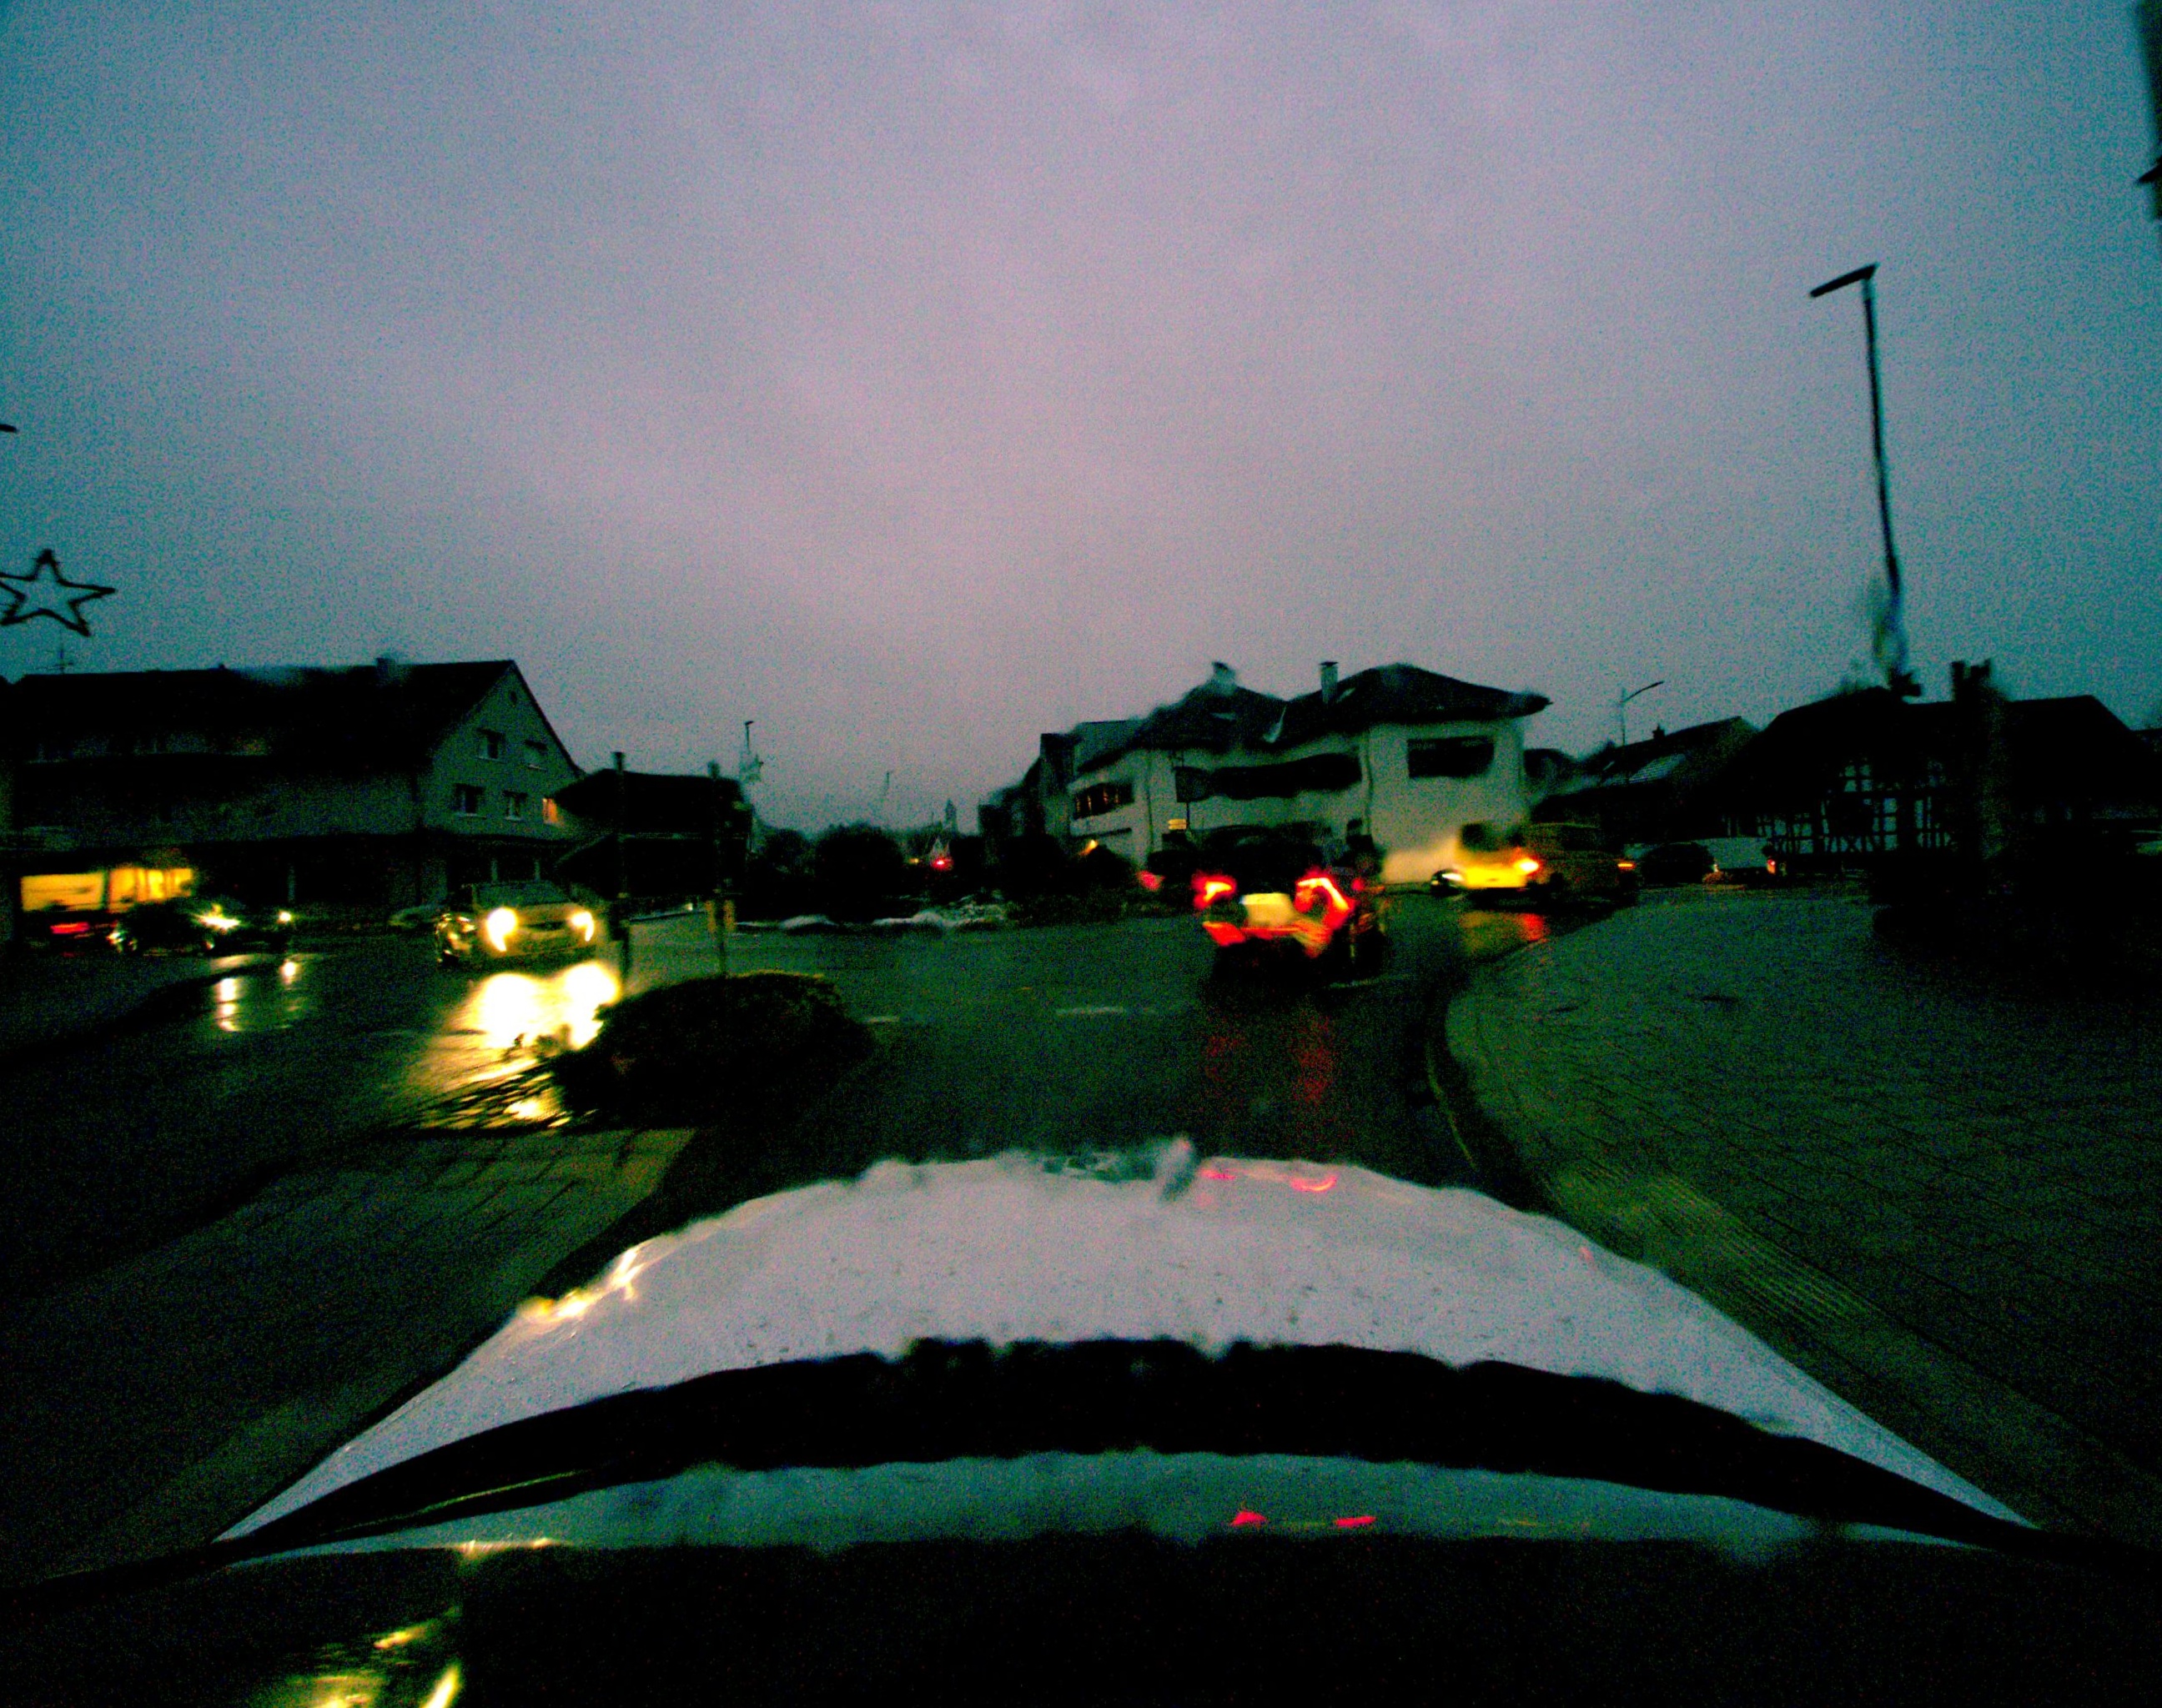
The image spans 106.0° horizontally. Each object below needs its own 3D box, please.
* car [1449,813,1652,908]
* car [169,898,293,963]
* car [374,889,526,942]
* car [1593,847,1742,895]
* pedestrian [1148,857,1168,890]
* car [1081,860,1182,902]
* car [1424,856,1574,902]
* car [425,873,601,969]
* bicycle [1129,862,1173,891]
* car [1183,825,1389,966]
[{"bbox_3d":[11.146,0.100,19.255,4.916,2.014,1.980,-2,-1,-31],"label":"car"},{"bbox_3d":[-25.819,2.233,24.697,4.572,1.593,1.966,-1,0,36],"label":"car"},{"bbox_3d":[-23.041,2.222,29.859,4.049,1.662,1.700,-2,-1,-6],"label":"car"},{"bbox_3d":[20.345,0.599,28.345,3.978,1.552,1.695,-1,-2,-3],"label":"car"},{"bbox_3d":[3.646,0.922,38.544,0.683,1.564,0.614,-2,0,27],"label":"pedestrian"},{"bbox_3d":[1.997,1.071,32.954,1.793,1.539,3.885,-2,0,-41],"label":"car"},{"bbox_3d":[14.393,0.887,28.183,4.211,1.384,1.848,-2,-3,-3],"label":"car"},{"bbox_3d":[-10.281,1.123,14.625,3.961,1.422,1.726,-3,-1,42],"label":"car"},{"bbox_3d":[3.274,1.068,38.158,1.918,1.295,0.555,-2,1,27],"label":"bicycle"},{"bbox_3d":[3.067,0.460,11.510,1.898,1.615,3.974,-2,0,27],"label":"car"}]
